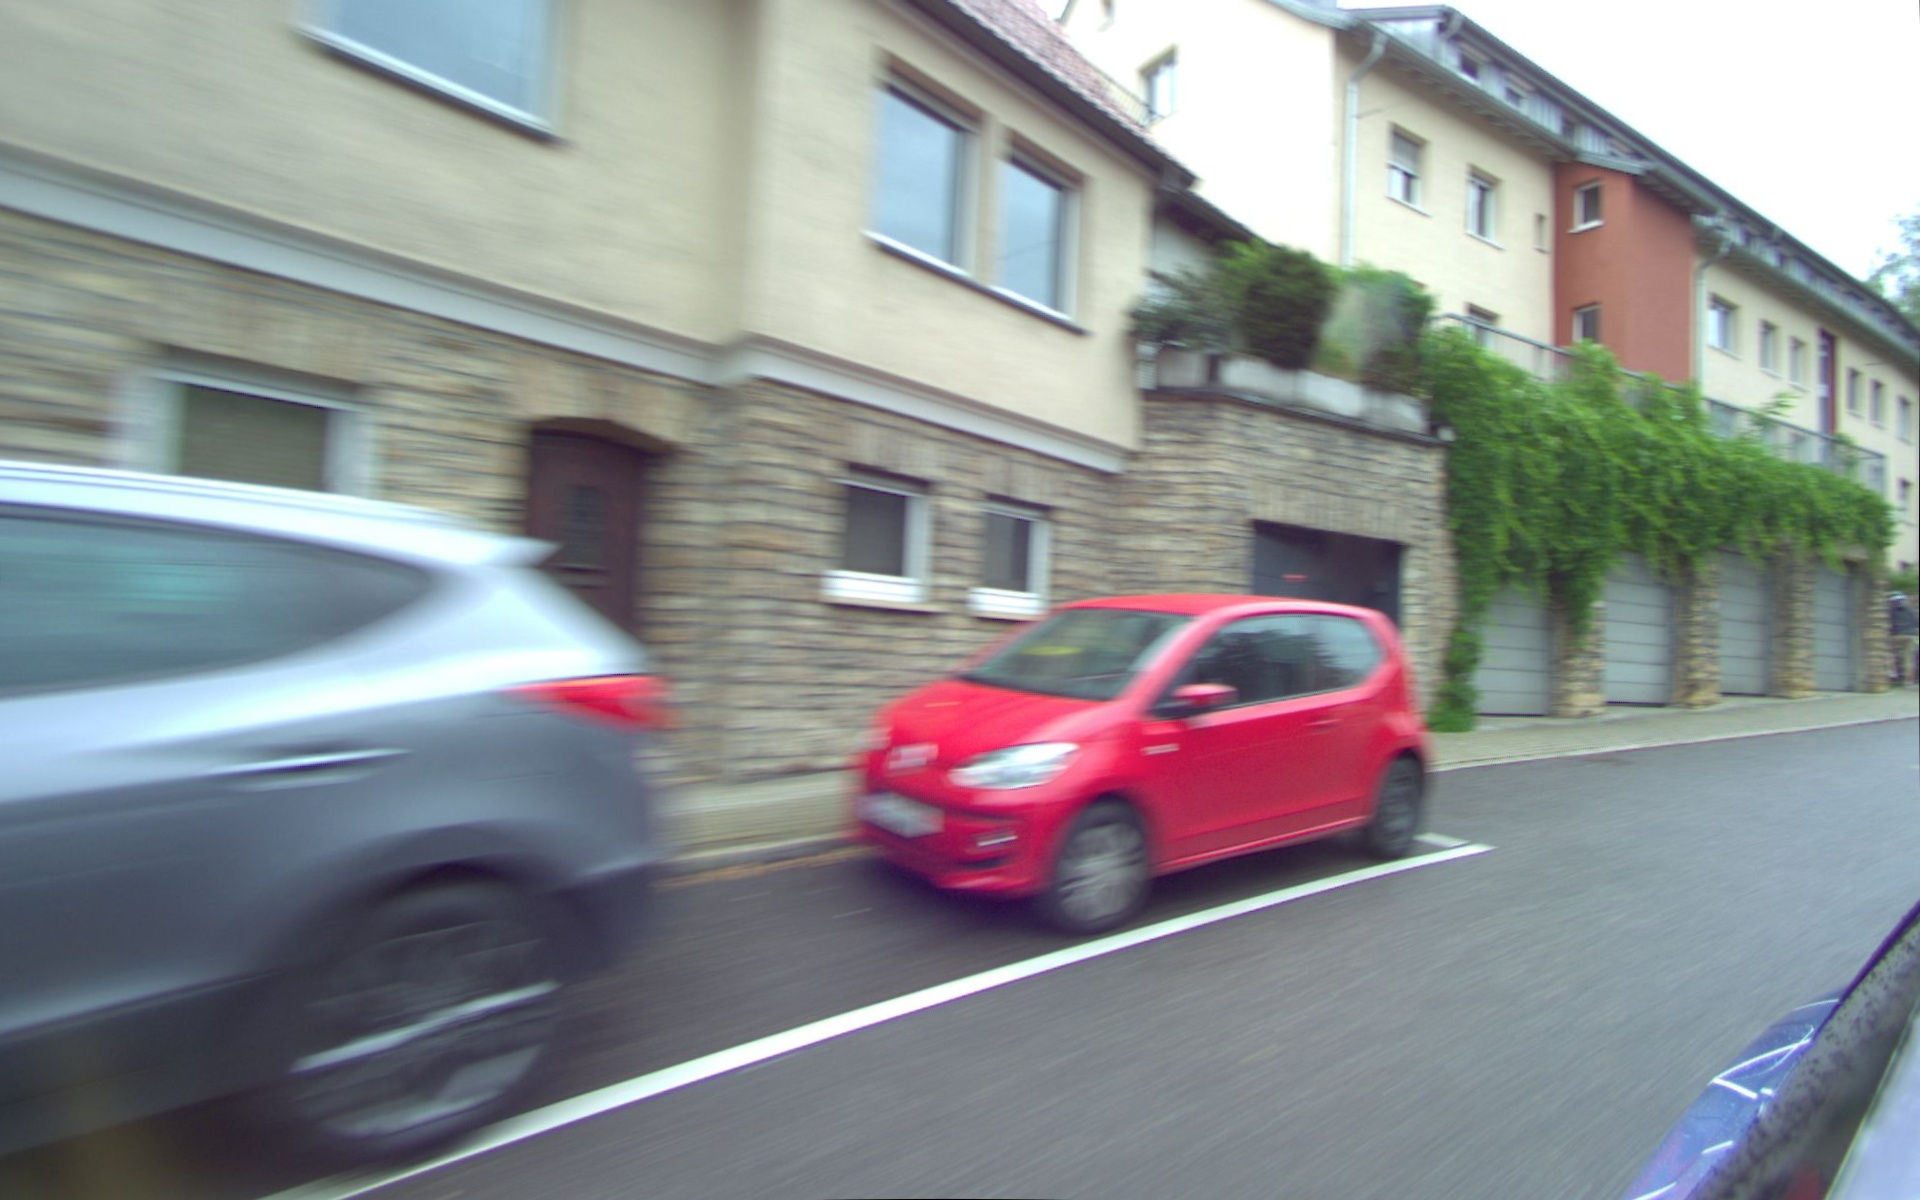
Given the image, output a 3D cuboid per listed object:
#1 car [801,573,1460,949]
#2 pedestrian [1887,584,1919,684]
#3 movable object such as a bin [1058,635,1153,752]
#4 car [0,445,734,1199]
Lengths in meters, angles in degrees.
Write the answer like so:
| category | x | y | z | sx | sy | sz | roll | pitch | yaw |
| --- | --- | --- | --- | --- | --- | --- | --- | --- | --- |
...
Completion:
| category | x | y | z | sx | sy | sz | roll | pitch | yaw |
| --- | --- | --- | --- | --- | --- | --- | --- | --- | --- |
| car | 1.073 | 0.610 | 5.627 | 3.514 | 1.453 | 1.620 | 0 | 1 | -36 |
| pedestrian | 16.213 | 0.564 | 17.107 | 0.616 | 1.672 | 0.608 | -2 | -2 | 30 |
| movable object such as a bin | 1.272 | 0.802 | 8.880 | 0.504 | 0.935 | 0.598 | 2 | 2 | -34 |
| car | -2.812 | 0.473 | 2.115 | 4.338 | 1.624 | 1.616 | 2 | 1 | -45 |
